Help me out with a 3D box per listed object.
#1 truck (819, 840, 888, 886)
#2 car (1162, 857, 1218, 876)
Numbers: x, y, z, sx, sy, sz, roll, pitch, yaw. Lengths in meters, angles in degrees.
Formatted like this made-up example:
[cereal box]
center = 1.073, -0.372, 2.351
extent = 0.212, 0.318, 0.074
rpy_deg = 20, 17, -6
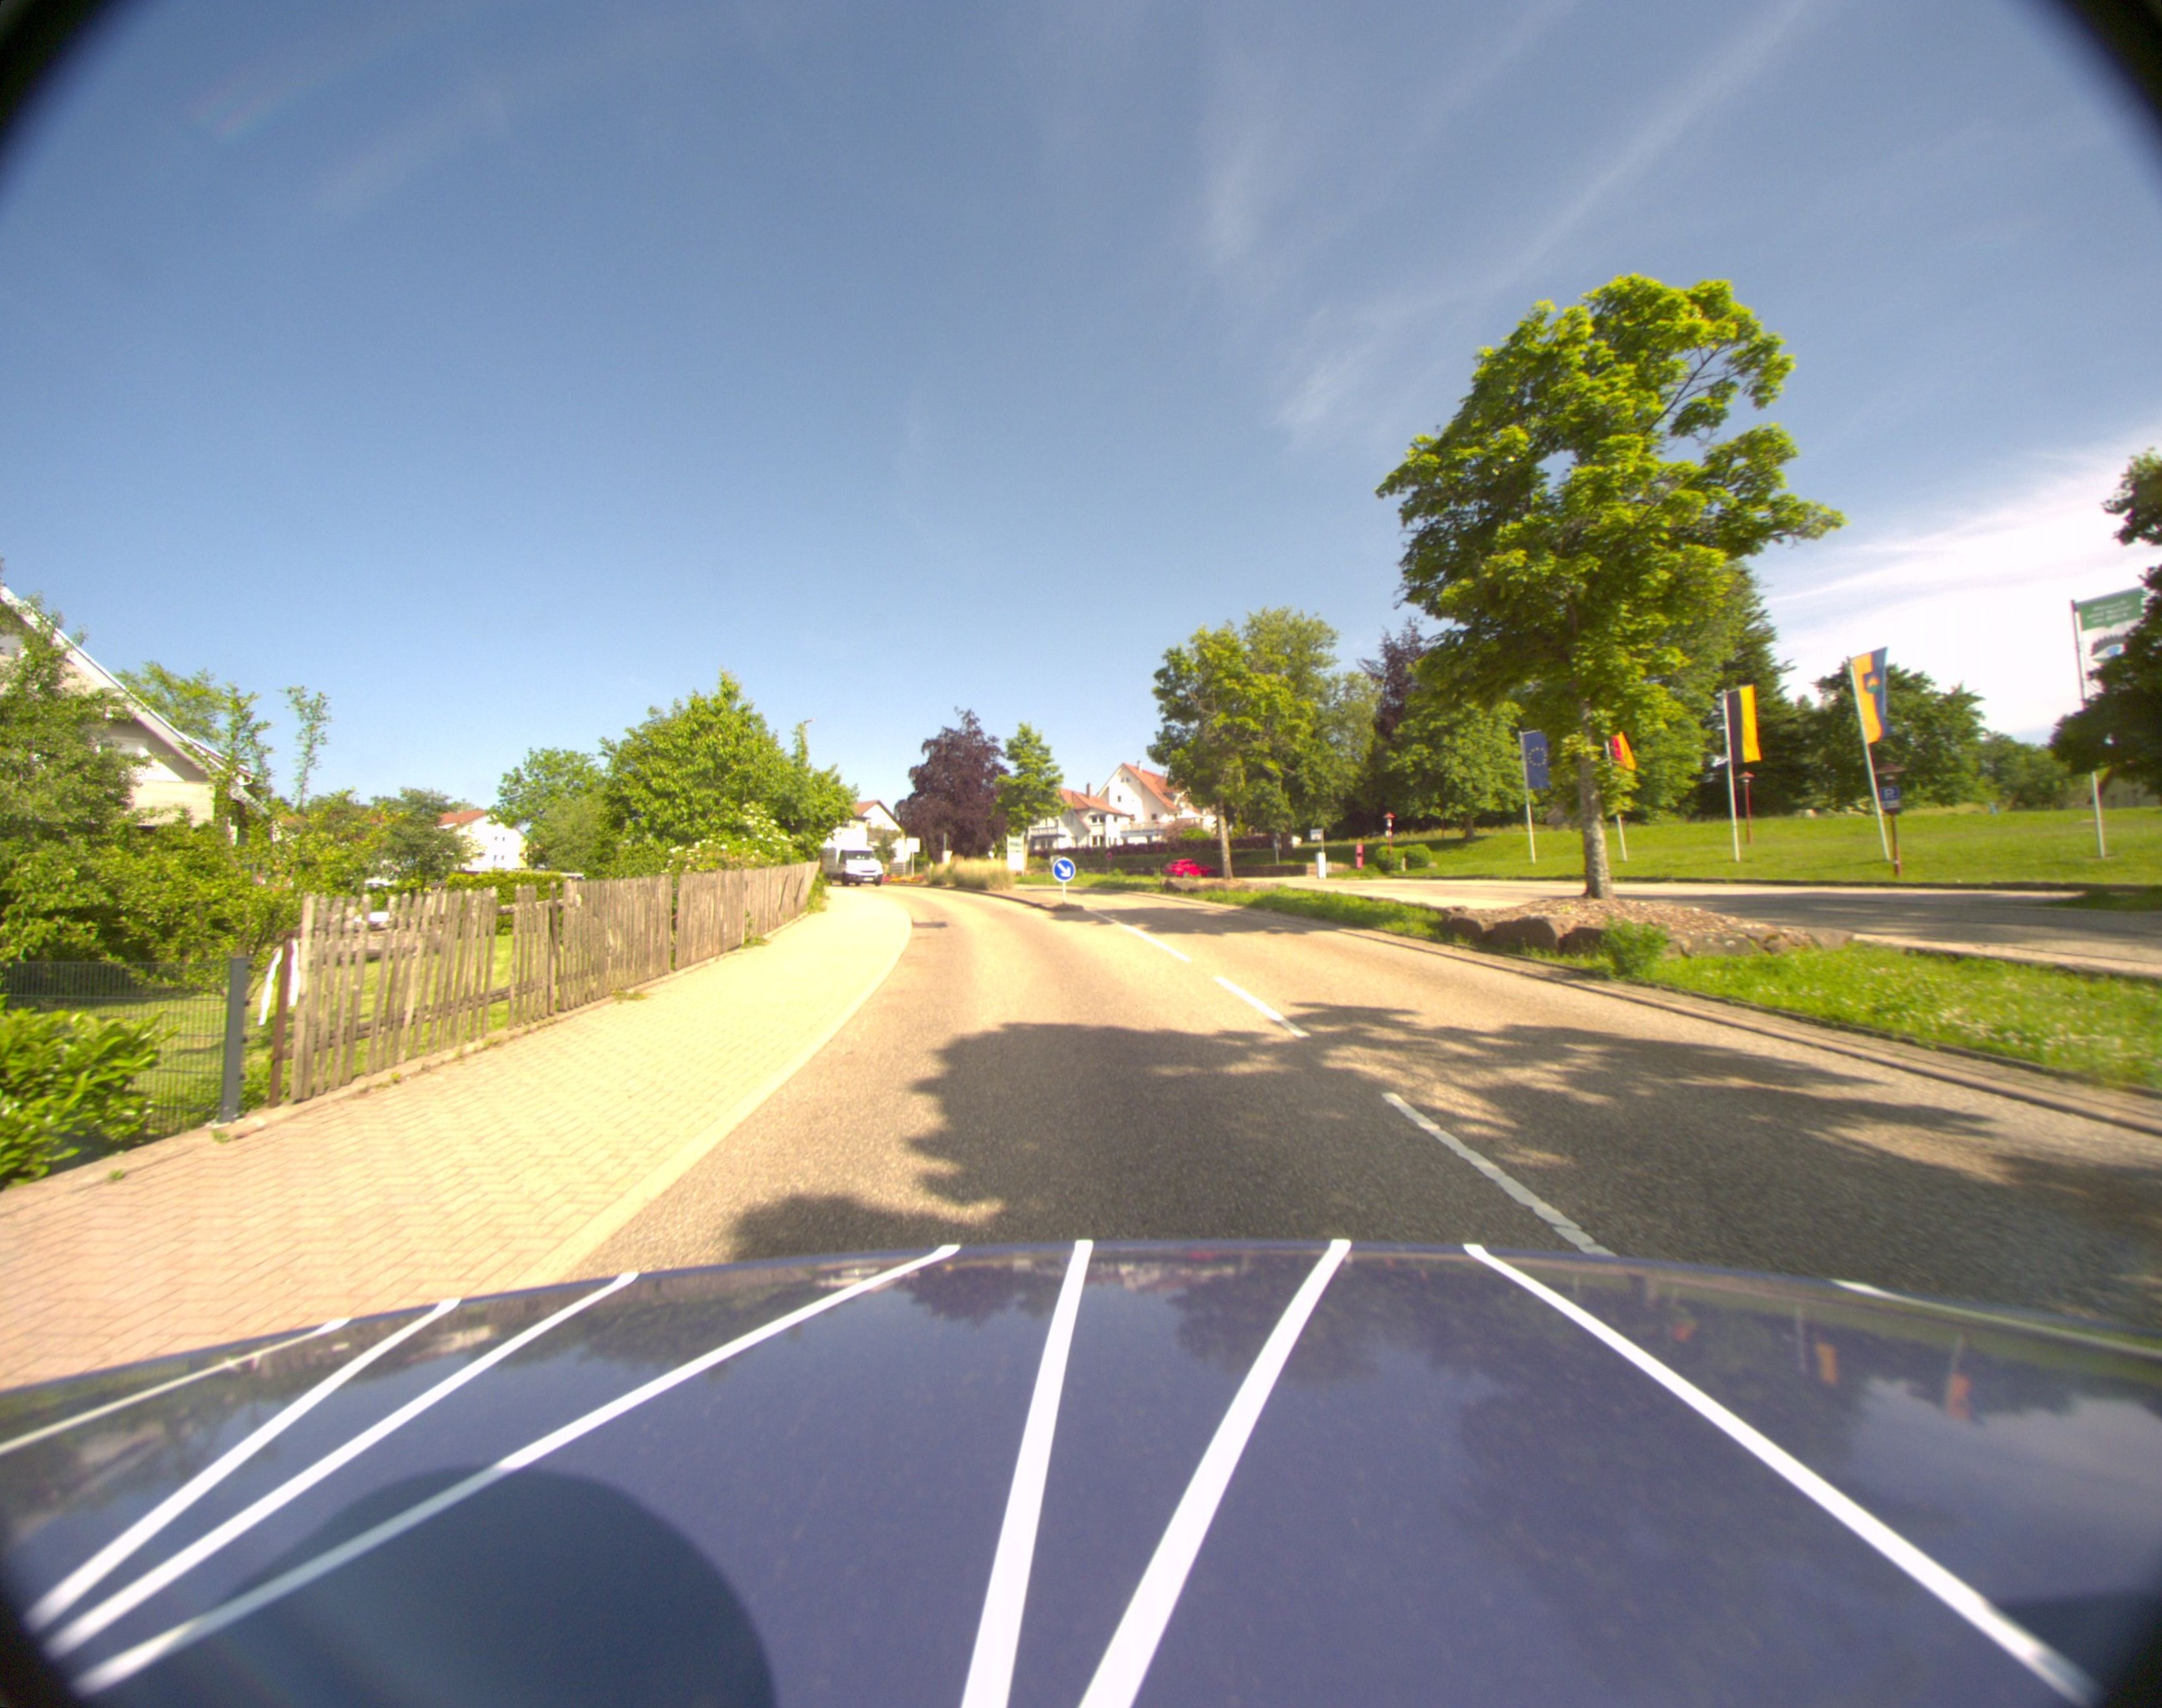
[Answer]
[truck]
center = -13.168, 0.594, 43.648
extent = 2.003, 2.328, 6.480
rpy_deg = -4, 0, -32
[car]
center = 8.497, 0.961, 59.263
extent = 4.246, 1.390, 1.819
rpy_deg = 0, -1, -36
